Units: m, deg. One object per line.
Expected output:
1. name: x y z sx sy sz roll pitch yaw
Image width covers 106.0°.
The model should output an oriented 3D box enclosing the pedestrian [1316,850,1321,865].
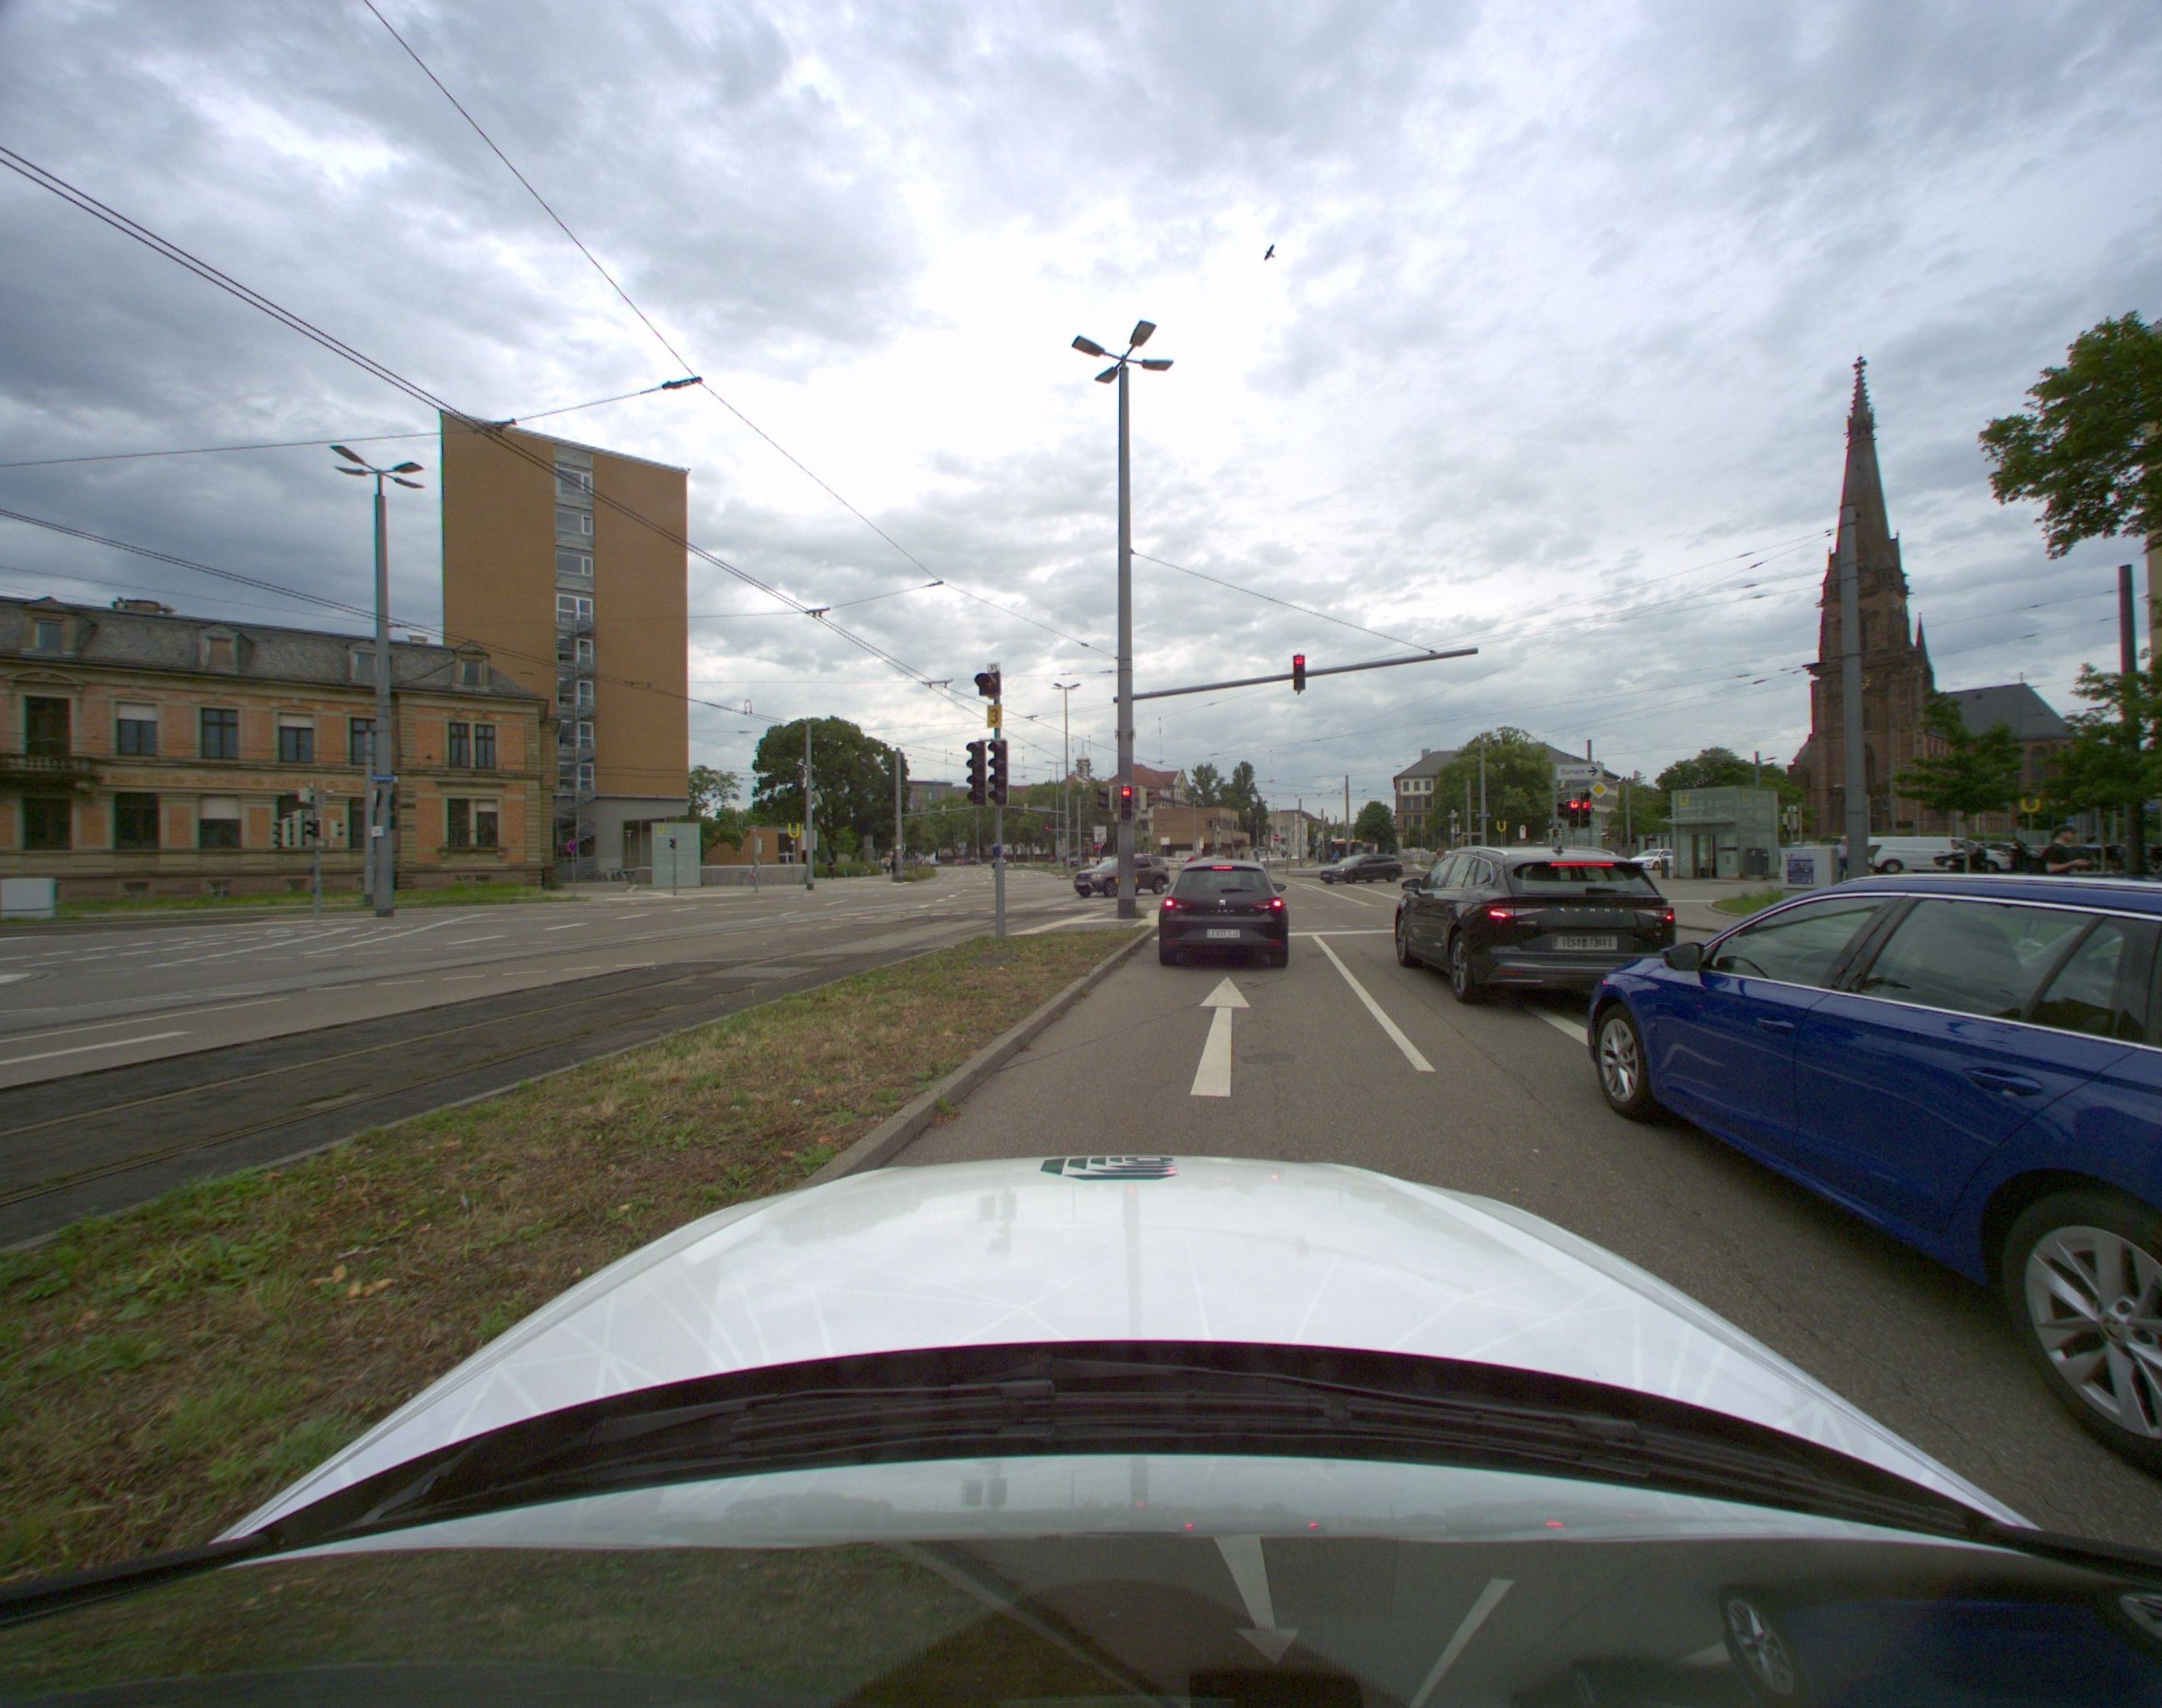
1. pedestrian: 31.158 0.434 106.896 0.616 1.918 0.702 -1 -1 20

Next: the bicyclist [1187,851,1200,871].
1. bicyclist: 9.977 0.612 72.091 0.883 1.732 0.891 -1 0 -11

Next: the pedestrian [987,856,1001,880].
1. pedestrian: -7.223 1.165 67.782 1.029 1.934 0.697 -1 0 -15

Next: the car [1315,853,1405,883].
1. car: 14.155 0.700 41.288 4.399 1.396 1.685 -1 0 -24

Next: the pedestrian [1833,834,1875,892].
1. pedestrian: 26.422 0.309 27.844 1.022 1.930 0.879 0 0 -38

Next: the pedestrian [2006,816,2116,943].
1. pedestrian: 14.890 0.370 12.388 0.539 1.844 0.976 -1 0 -33

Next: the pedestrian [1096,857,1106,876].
1. pedestrian: 1.600 1.001 64.527 0.725 1.542 0.417 -1 -1 -2

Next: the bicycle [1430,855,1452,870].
1. bicycle: 32.338 0.732 73.232 1.730 1.321 0.643 -1 0 -9

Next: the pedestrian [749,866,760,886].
1. pedestrian: -22.181 1.492 55.281 0.577 1.336 0.493 0 -1 -40

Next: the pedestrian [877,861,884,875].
1. pedestrian: -28.559 2.043 116.219 0.877 1.982 0.794 -1 -2 -8

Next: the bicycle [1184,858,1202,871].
1. bicycle: 9.940 0.913 72.273 0.892 1.178 2.293 -1 0 -11

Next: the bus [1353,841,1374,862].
1. bus: 47.634 -0.441 137.145 2.631 3.283 11.054 -1 0 22

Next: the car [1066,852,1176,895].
1. car: 1.651 0.751 33.303 4.244 1.640 1.785 -1 0 -32

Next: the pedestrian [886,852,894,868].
1. pedestrian: -23.360 0.754 99.482 0.797 1.982 0.874 0 -2 -24

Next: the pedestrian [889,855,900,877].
1. pedestrian: -16.992 1.114 74.164 0.928 2.014 1.008 -1 -2 -9

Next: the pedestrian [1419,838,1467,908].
1. pedestrian: 10.109 0.518 22.730 1.108 1.907 0.728 0 -1 -32

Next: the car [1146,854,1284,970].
1. car: 1.911 0.729 12.113 1.695 1.449 3.819 -1 0 7

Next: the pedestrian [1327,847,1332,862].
1. pedestrian: 32.687 0.023 107.048 0.616 1.918 0.702 -1 -1 20

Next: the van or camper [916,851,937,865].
1. van or camper: -34.102 0.945 179.781 2.407 3.124 5.441 -1 0 -38

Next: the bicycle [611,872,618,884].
1. bicycle: -40.095 2.069 69.996 0.511 1.049 1.414 -1 0 -32

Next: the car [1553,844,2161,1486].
1. car: 3.616 0.715 3.069 1.768 1.488 4.479 -1 -1 11

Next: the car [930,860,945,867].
1. car: -32.303 2.161 183.217 1.788 1.464 3.958 0 0 -33

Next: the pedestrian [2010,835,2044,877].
1. pedestrian: 37.273 0.077 32.094 0.873 1.638 0.633 0 0 -23

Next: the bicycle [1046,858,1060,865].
1. bicycle: -5.026 1.341 146.392 0.930 1.179 2.747 -1 0 39

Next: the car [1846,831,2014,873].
1. car: 44.199 -0.056 42.631 5.665 2.014 2.040 -2 -2 28

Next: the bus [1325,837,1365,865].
1. bus: 31.302 -0.348 96.090 2.933 3.123 11.605 -1 0 25

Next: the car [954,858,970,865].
1. car: -24.806 1.612 170.098 1.789 1.464 3.957 -1 0 -35

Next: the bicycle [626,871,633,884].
1. bicycle: -39.169 2.022 70.651 0.483 1.049 1.414 -1 0 -32

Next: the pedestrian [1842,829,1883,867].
1. pedestrian: 37.748 -0.265 39.341 0.947 1.797 1.079 0 -2 -21

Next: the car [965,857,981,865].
1. car: -21.665 1.394 163.743 1.787 1.464 3.962 -1 0 -30

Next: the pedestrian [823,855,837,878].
1. pedestrian: -21.899 1.081 71.055 1.020 2.014 0.844 -1 -1 -9

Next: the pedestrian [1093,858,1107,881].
1. pedestrian: 1.609 1.293 68.933 1.036 1.934 0.693 -1 -1 -41

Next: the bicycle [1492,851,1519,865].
1. bicycle: 42.977 0.408 82.488 2.244 1.331 0.710 -1 -2 18

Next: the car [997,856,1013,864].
1. car: -13.999 1.142 150.178 1.783 1.464 3.971 -1 0 -22

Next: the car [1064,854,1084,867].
1. car: -0.958 0.915 110.725 1.994 1.684 3.985 -1 -2 -11

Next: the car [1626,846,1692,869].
1. car: 39.514 0.231 55.670 4.001 1.464 1.763 0 -2 -21

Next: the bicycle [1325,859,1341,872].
1. bicycle: 20.983 0.940 67.780 0.861 1.104 2.306 -1 0 6

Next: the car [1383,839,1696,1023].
1. car: 4.853 0.678 9.427 1.766 1.597 4.522 -1 0 10

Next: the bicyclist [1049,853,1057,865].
1. bicyclist: -5.084 0.924 146.362 0.928 2.013 0.984 -1 0 39

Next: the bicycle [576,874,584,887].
1. bicycle: -42.222 2.213 68.580 0.574 1.106 1.414 -1 0 -32

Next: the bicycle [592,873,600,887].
1. bicycle: -41.213 2.209 69.241 0.574 1.106 1.414 -1 0 -32

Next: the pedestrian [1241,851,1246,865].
1. pedestrian: 22.382 0.565 112.083 0.617 1.918 0.713 -1 -1 14

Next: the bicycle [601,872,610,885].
1. bicycle: -40.660 2.073 69.636 0.574 1.106 1.414 -1 0 -32

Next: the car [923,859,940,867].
1. car: -29.058 1.752 158.389 1.789 1.464 3.956 -1 0 -36

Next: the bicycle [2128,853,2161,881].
1. bicycle: 36.136 0.421 27.230 0.595 0.917 1.257 0 0 -19

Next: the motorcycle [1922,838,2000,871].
1. motorcycle: 31.899 0.023 29.516 2.379 1.168 0.764 -1 0 -10

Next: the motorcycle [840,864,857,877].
1. motorcycle: -23.038 1.668 80.780 1.479 1.268 0.506 -1 0 -36

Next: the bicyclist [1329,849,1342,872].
1. bicyclist: 21.152 0.559 67.694 0.867 1.851 1.049 -1 0 5

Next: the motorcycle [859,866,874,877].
1. motorcycle: -21.729 1.762 82.504 0.505 1.111 1.754 -1 0 24

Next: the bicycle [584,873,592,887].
1. bicycle: -41.716 2.203 68.910 0.574 1.106 1.414 -1 0 -32

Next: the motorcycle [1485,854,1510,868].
1. motorcycle: 37.244 0.632 72.769 2.143 1.139 0.738 -1 0 -22

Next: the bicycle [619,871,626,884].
1. bicycle: -39.619 2.042 70.366 0.483 1.049 1.414 -1 0 -32

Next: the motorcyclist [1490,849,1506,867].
1. motorcyclist: 37.281 0.370 72.804 0.981 1.649 0.744 -1 -1 -22

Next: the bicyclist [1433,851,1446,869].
1. bicyclist: 32.210 0.540 73.217 0.853 1.673 0.652 -1 -1 -8
